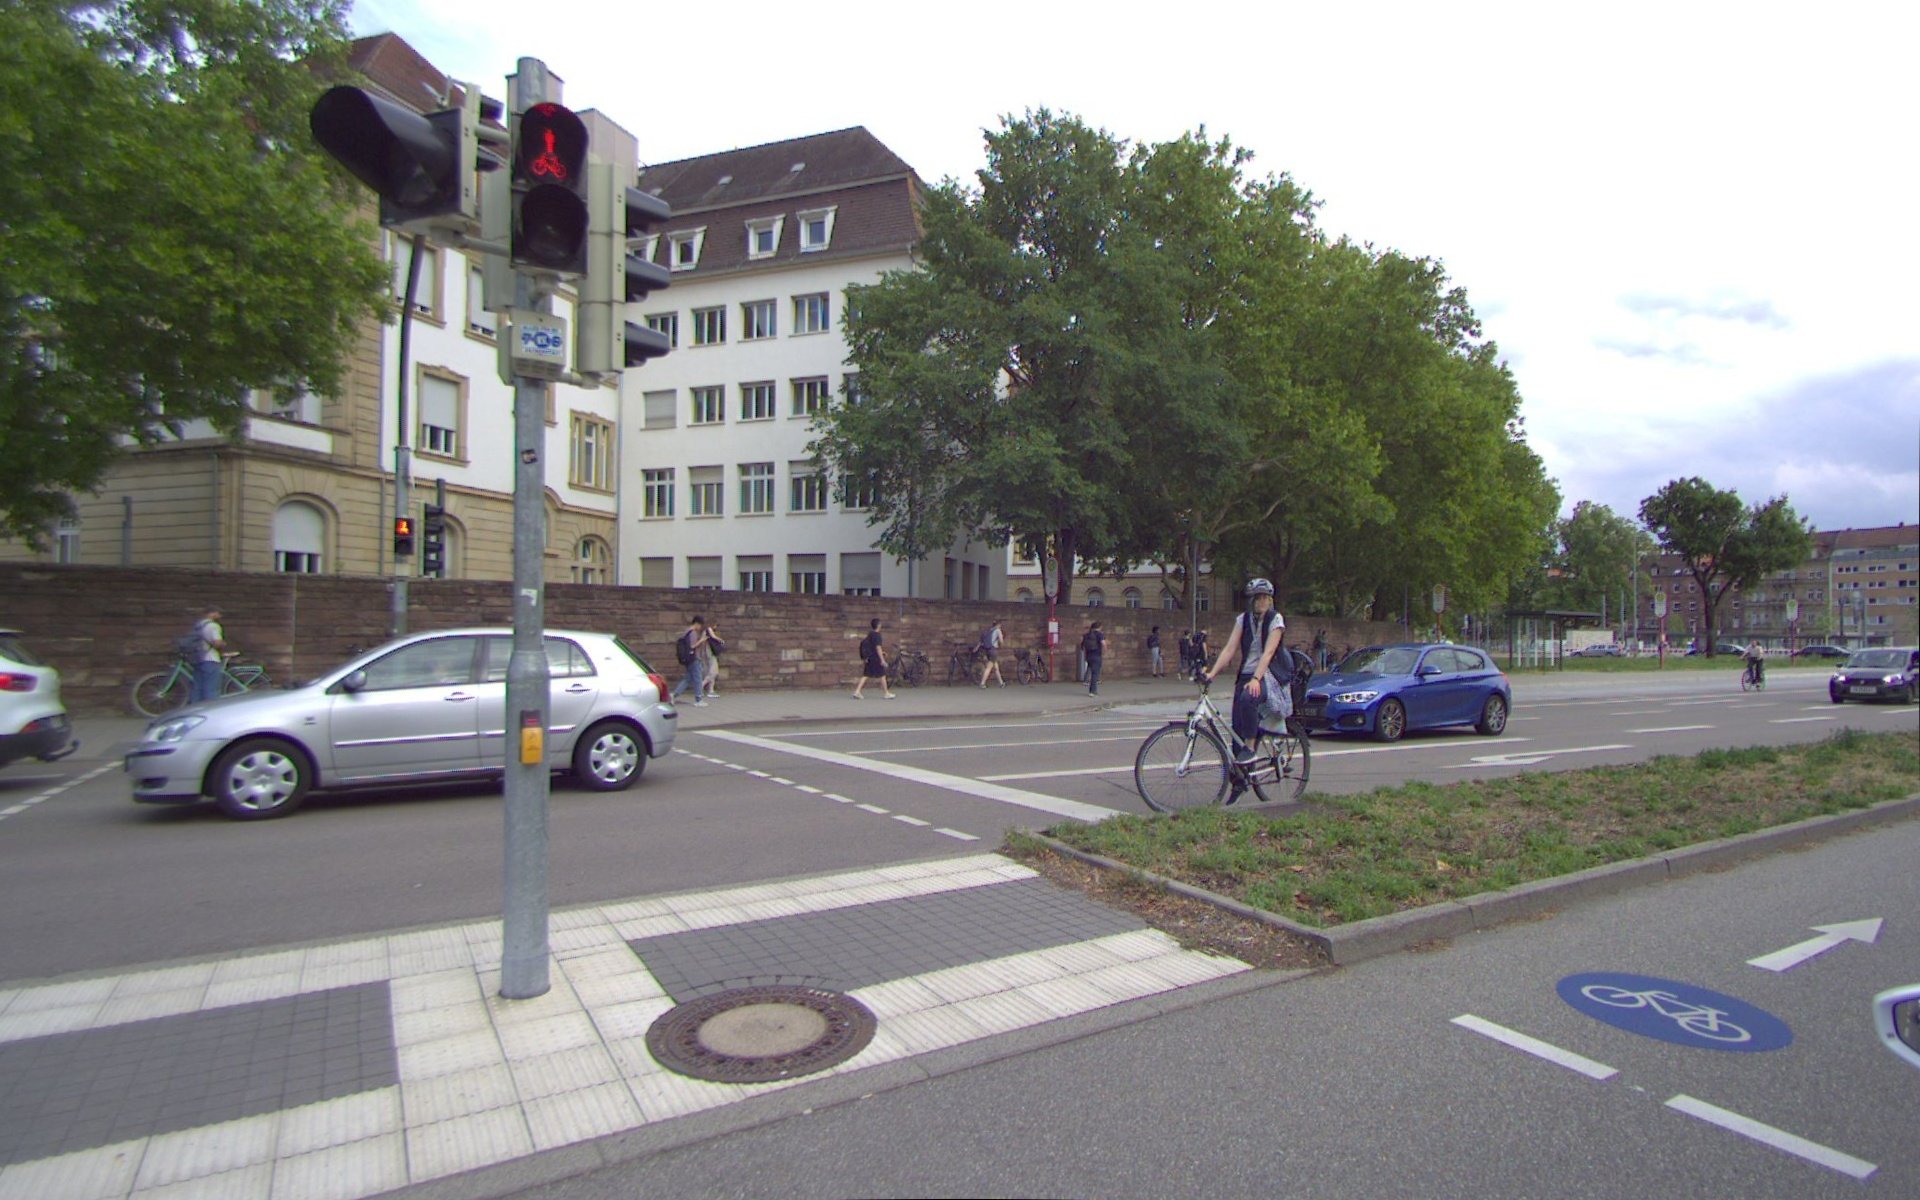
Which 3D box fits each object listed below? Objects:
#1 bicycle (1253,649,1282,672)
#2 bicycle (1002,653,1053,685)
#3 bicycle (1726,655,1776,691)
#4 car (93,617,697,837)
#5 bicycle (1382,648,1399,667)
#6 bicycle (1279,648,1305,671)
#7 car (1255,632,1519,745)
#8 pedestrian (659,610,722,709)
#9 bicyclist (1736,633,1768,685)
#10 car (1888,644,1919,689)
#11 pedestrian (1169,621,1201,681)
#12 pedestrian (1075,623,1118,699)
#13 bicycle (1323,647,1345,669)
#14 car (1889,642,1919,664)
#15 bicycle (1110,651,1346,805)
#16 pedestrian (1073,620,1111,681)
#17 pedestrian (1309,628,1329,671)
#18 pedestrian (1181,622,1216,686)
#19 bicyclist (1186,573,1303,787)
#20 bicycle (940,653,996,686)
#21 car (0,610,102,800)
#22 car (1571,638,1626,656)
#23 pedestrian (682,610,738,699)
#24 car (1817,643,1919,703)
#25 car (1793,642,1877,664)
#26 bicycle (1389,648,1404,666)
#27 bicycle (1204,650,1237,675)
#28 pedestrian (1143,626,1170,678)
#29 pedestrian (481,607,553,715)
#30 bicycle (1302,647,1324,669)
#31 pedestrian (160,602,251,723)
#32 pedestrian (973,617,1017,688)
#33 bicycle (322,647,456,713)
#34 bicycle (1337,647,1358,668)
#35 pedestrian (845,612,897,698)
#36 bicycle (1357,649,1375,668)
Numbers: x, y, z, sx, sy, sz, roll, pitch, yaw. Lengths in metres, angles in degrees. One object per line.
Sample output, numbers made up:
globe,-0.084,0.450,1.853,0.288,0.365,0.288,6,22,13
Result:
bicycle,11.792,2.318,38.455,0.435,0.838,1.613,2,-1,40
bicycle,1.905,1.924,28.250,1.608,0.807,0.437,1,1,-42
bicycle,28.087,2.597,35.675,2.019,1.233,0.616,2,-2,-28
car,-4.693,0.943,8.858,4.246,1.509,1.790,2,-2,-35
bicycle,22.369,2.995,52.154,0.474,0.919,1.616,2,-1,34
bicycle,13.304,2.366,40.275,0.411,0.890,1.548,2,-1,40
car,6.630,1.268,15.502,4.059,1.531,1.792,1,-3,-33
pedestrian,-5.085,1.119,18.995,0.747,1.805,0.783,1,-3,28
bicyclist,28.184,2.093,35.744,0.801,1.806,0.616,1,-2,-27
car,34.607,2.333,35.582,4.364,1.509,1.789,2,-2,-37
pedestrian,7.014,1.583,31.261,0.747,1.805,0.783,1,-3,29
pedestrian,3.329,1.486,24.513,0.748,1.805,0.720,0,-3,35
bicycle,16.346,2.529,43.839,0.435,0.890,1.615,2,-1,37
car,70.812,3.891,73.595,1.645,1.537,3.829,2,-1,-36
bicycle,2.107,0.937,7.803,1.902,1.069,0.571,1,-2,-28
pedestrian,3.762,1.432,28.612,0.747,1.693,0.923,1,-3,29
pedestrian,14.236,1.956,39.810,0.553,1.689,0.624,0,-3,41
pedestrian,6.909,1.562,29.079,0.747,1.805,0.923,1,-3,29
bicyclist,2.243,0.612,7.922,0.690,1.594,0.570,1,-1,-28
bicycle,0.224,1.836,26.758,1.608,0.807,0.437,1,1,-42
car,-10.390,0.891,8.606,4.377,1.674,1.853,2,-2,-34
car,61.025,4.438,96.058,1.632,1.671,4.124,2,-2,-37
pedestrian,-5.230,1.137,21.029,0.747,1.805,0.783,1,-3,27
car,24.854,1.939,27.122,3.595,1.509,1.564,2,-2,-31
car,67.593,4.054,77.641,1.645,1.495,4.636,2,-1,-36
bicycle,23.492,3.062,54.040,0.474,0.919,1.616,2,-1,34
bicycle,9.226,2.190,35.537,0.435,0.838,1.613,2,-1,40
pedestrian,6.302,1.671,32.190,0.578,1.613,0.733,0,-3,35
pedestrian,-7.657,1.046,17.380,0.733,1.805,0.783,1,-3,25
bicycle,14.723,2.414,41.863,0.342,0.890,1.515,2,-1,40
pedestrian,-11.671,0.958,15.546,0.732,1.805,0.784,1,-2,24
pedestrian,0.912,1.355,25.980,0.747,1.805,0.913,1,-3,29
bicycle,-9.991,1.375,17.609,1.964,1.072,0.544,2,1,-39
bicycle,17.573,2.587,45.515,0.435,0.890,1.615,2,-1,37
pedestrian,-1.919,1.176,21.680,0.747,1.805,0.783,1,-3,29
bicycle,19.389,2.786,47.954,0.474,0.919,1.616,-1,-2,35
